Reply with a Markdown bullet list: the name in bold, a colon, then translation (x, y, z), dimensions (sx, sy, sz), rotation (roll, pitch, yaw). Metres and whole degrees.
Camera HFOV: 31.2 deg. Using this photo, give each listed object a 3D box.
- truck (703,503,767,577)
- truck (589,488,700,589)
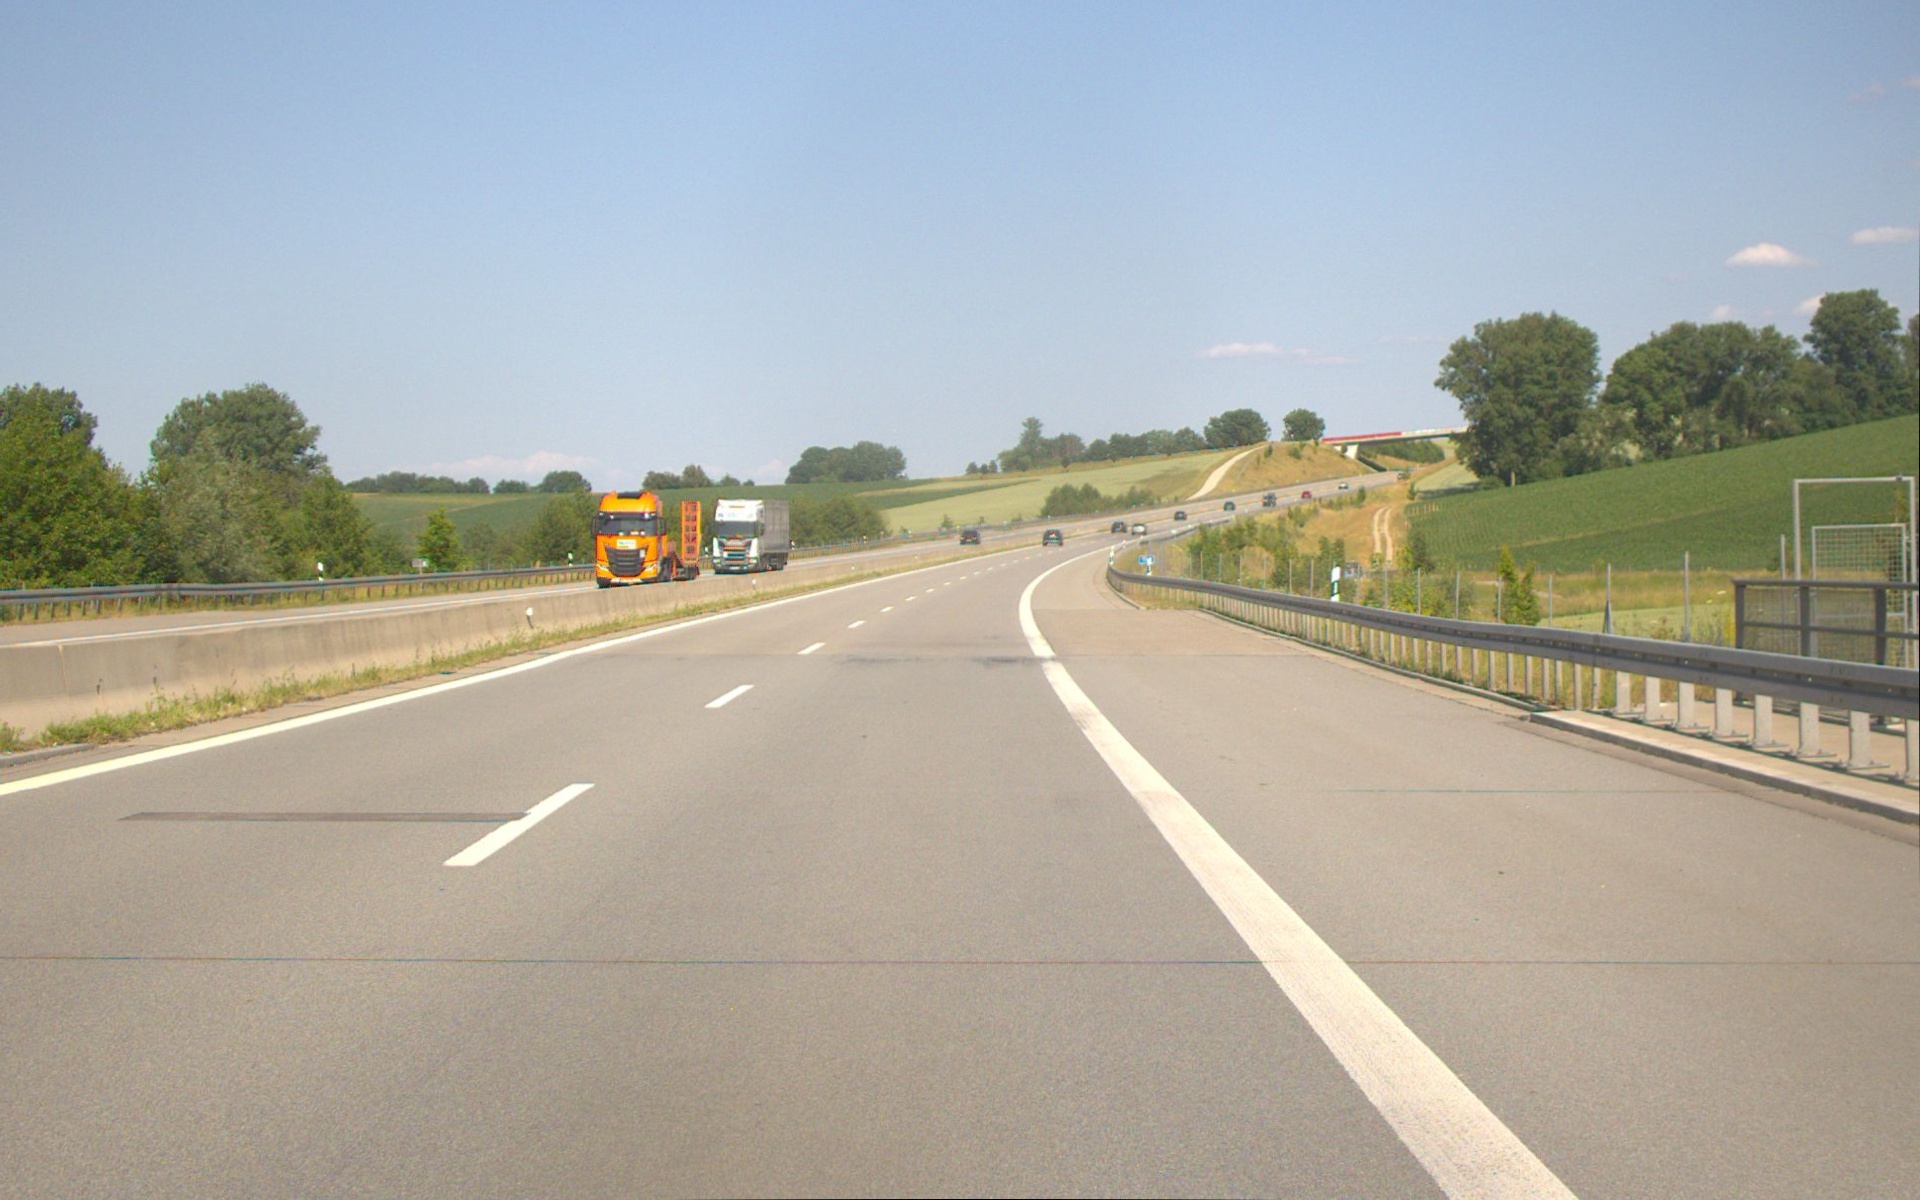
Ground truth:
- **truck**: translation (-12.093, -3.218, 185.263), dimensions (2.861, 3.860, 5.983), rotation (-1, 1, 2)
- **truck**: translation (-13.225, -2.577, 145.554), dimensions (2.867, 4.002, 17.116), rotation (0, 1, 1)
